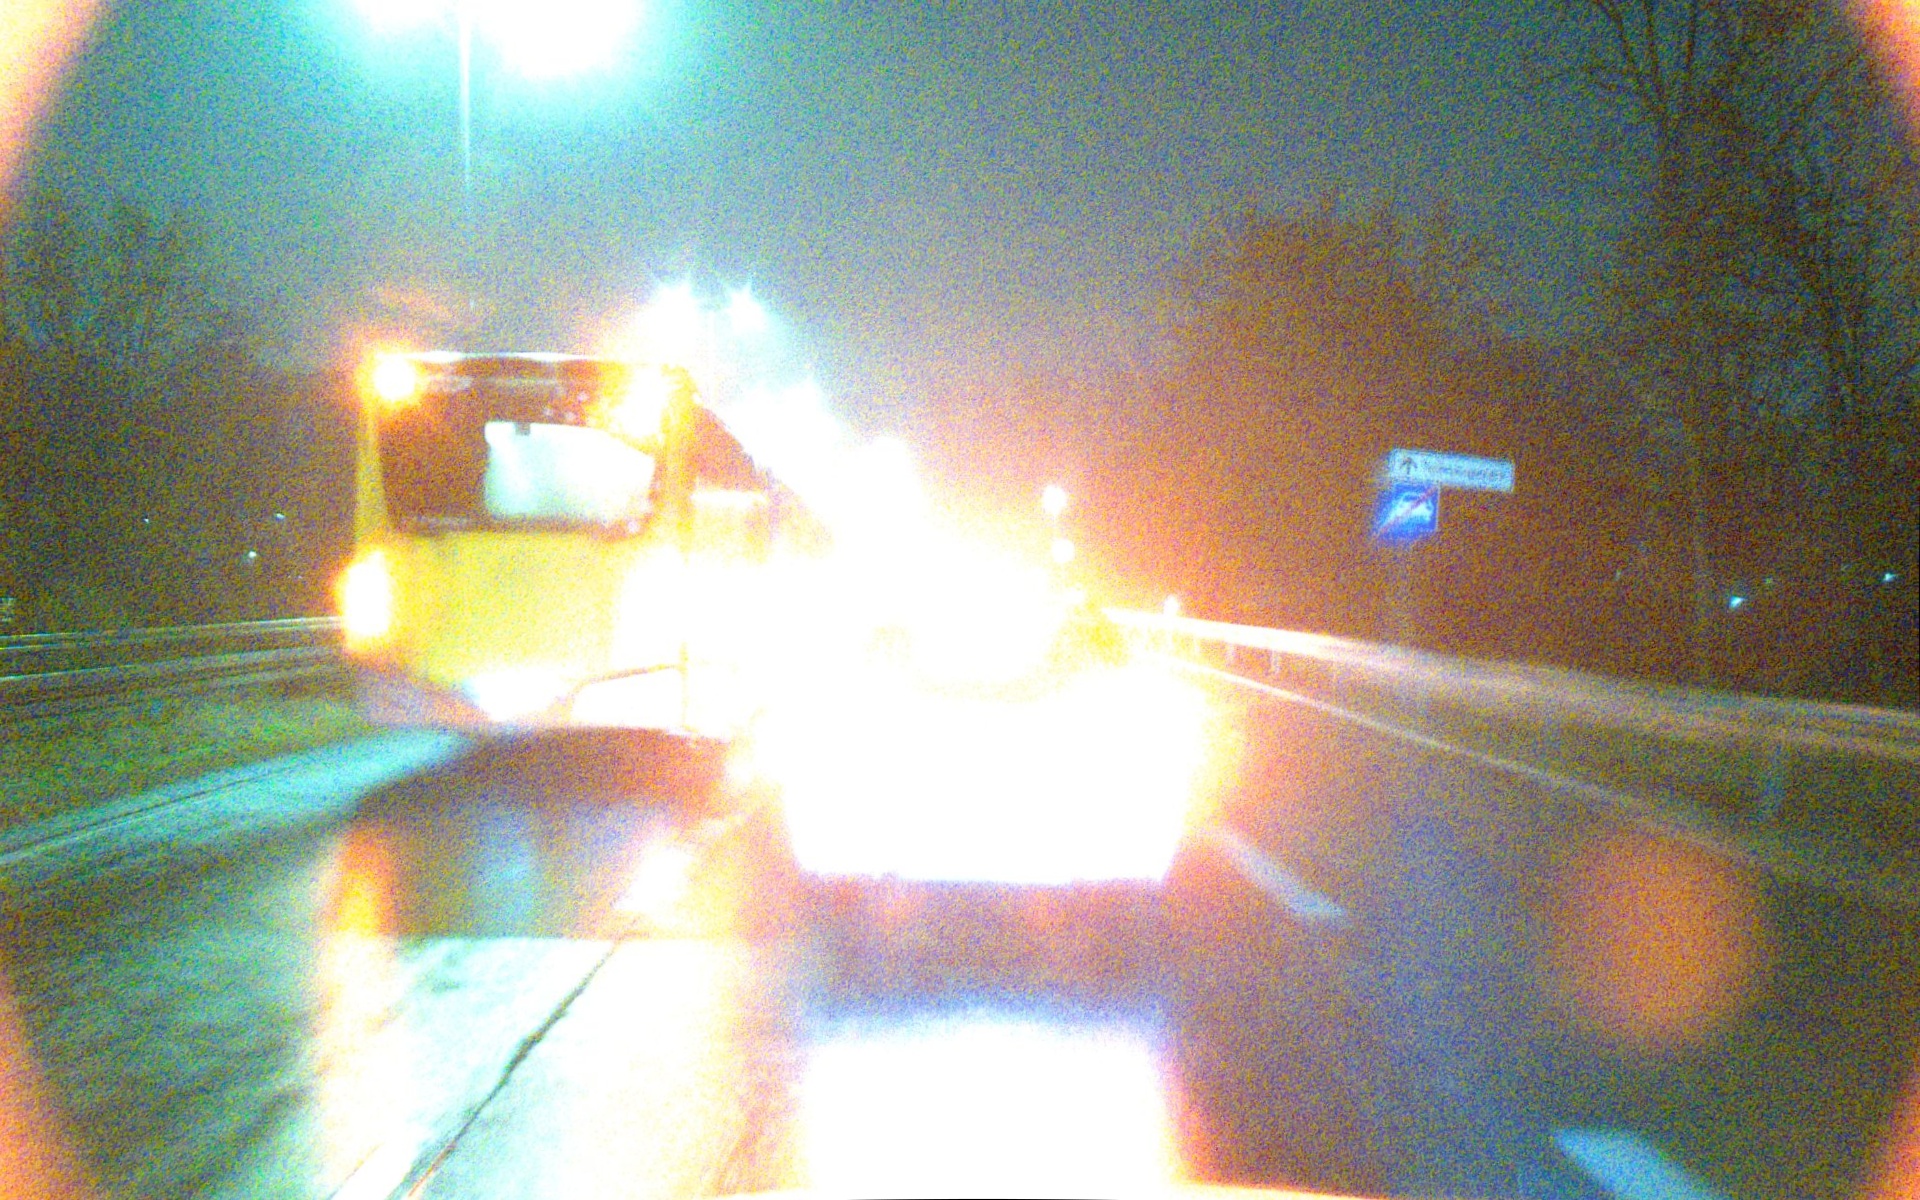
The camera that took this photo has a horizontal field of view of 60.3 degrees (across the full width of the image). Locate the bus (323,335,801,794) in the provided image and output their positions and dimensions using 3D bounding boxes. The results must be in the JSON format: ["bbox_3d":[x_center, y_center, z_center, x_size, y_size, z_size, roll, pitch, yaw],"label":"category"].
[{"bbox_3d":[-3.276,-0.299,16.399,2.688,3.178,9.198,2,1,-2],"label":"bus"}]

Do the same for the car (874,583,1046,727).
[{"bbox_3d":[-0.028,0.579,19.221,1.785,1.487,3.715,1,0,-1],"label":"car"}]

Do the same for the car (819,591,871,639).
[{"bbox_3d":[-3.885,0.530,56.354,1.526,1.513,3.808,2,-1,-1],"label":"car"}]

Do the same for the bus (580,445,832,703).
[{"bbox_3d":[-3.557,-0.382,25.367,2.688,3.178,8.700,2,1,-2],"label":"bus"}]

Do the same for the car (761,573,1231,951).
[{"bbox_3d":[0.026,0.662,8.586,1.906,1.517,3.713,1,0,-4],"label":"car"}]

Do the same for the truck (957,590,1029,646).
[{"bbox_3d":[1.694,0.903,81.693,3.005,2.573,7.170,2,-1,5],"label":"truck"}]

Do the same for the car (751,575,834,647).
[{"bbox_3d":[-3.799,0.265,37.980,1.526,1.513,3.808,2,-1,-1],"label":"car"}]

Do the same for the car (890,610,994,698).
[{"bbox_3d":[-0.345,0.958,30.773,1.785,1.487,3.715,1,0,-1],"label":"car"}]
